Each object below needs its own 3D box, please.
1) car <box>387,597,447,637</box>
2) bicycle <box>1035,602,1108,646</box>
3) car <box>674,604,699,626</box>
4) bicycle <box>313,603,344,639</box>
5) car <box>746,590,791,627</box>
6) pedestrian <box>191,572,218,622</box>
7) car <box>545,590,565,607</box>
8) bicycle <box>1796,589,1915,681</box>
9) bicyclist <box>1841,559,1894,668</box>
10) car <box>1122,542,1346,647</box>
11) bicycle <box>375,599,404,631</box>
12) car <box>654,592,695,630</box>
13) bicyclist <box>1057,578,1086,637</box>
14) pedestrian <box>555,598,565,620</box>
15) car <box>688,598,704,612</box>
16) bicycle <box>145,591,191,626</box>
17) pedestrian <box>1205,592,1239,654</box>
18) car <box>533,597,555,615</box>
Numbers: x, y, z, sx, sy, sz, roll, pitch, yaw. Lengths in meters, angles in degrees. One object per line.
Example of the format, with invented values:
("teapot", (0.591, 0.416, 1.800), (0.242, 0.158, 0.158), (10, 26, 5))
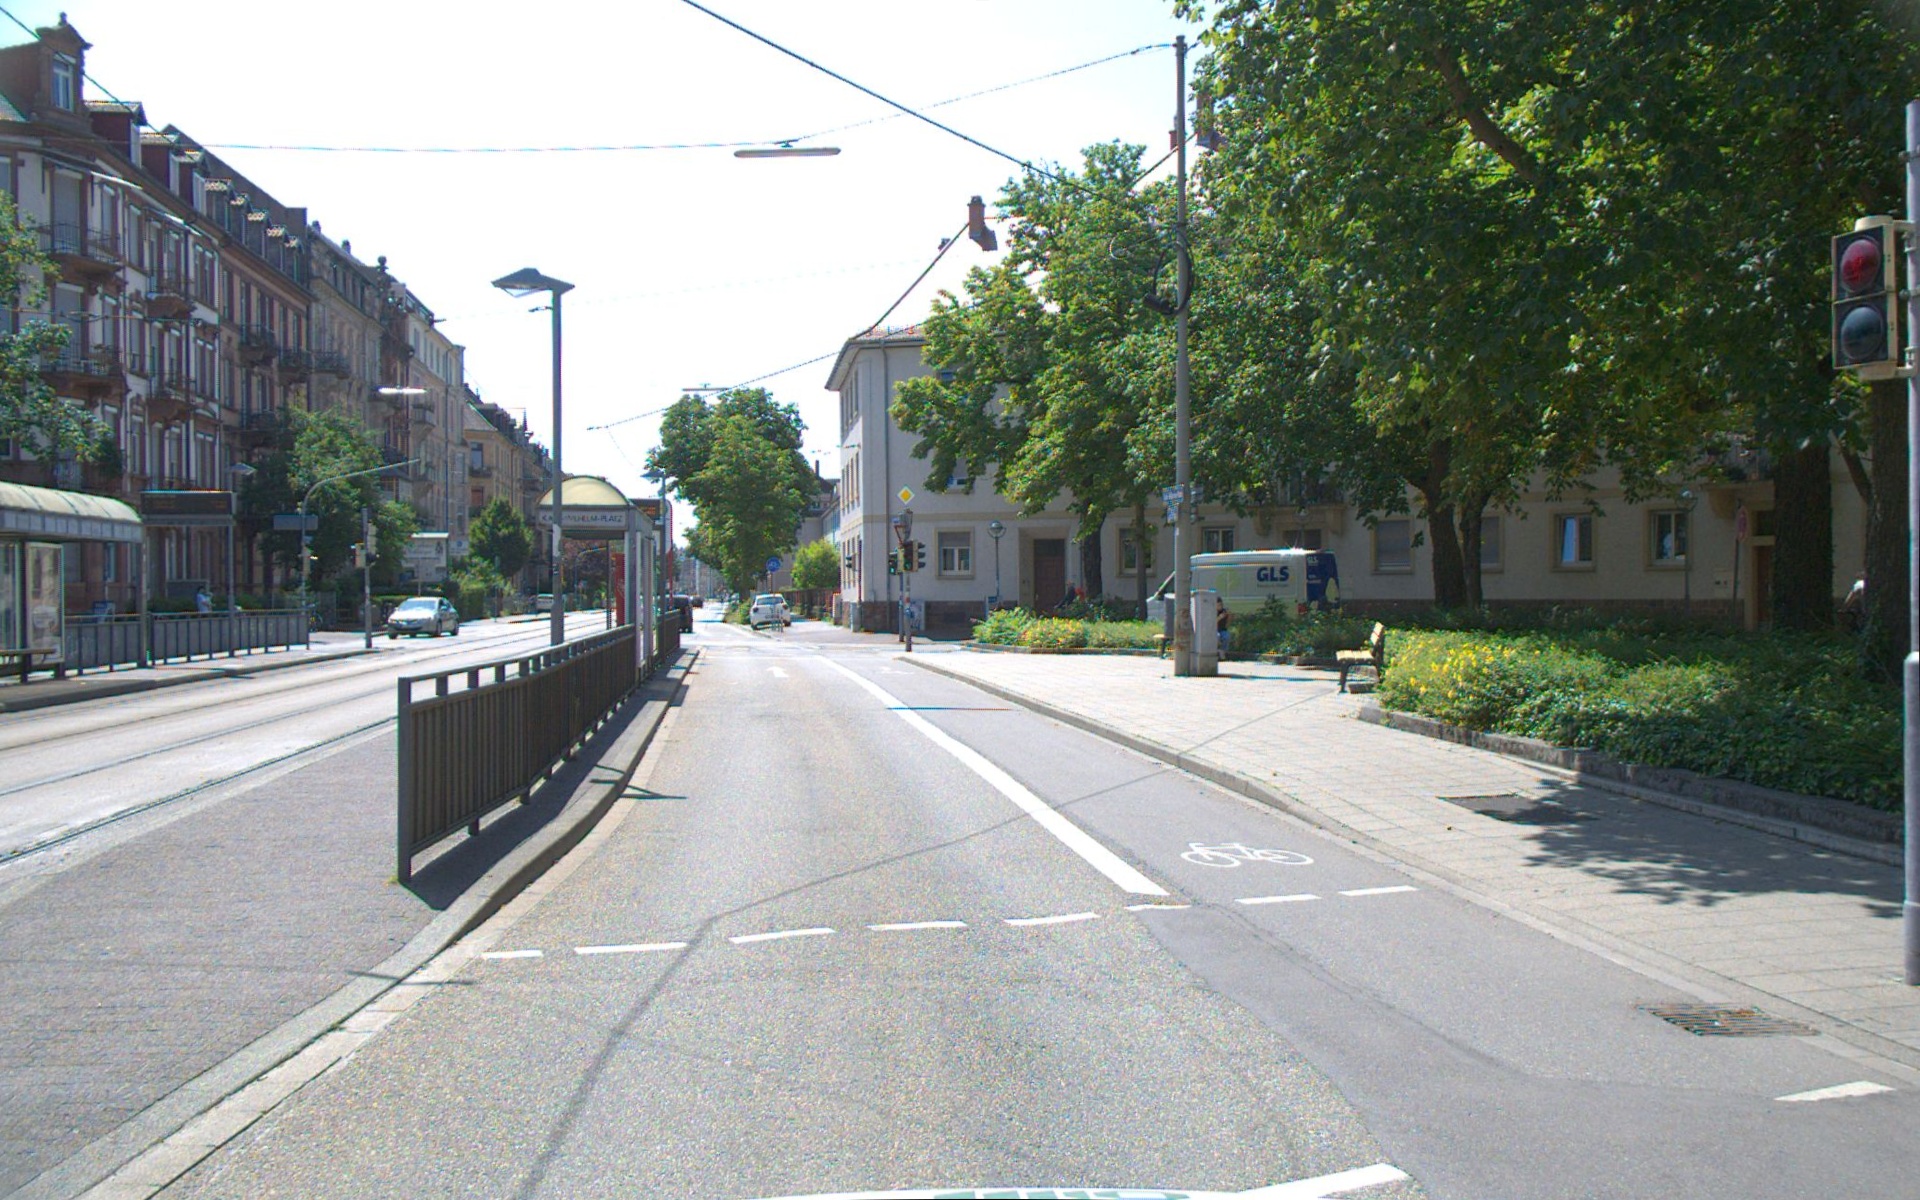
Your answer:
("car", (-19.474, 0.619, 59.395), (1.513, 1.362, 3.710), (0, -1, -10))
("bicycle", (3.218, 0.695, 47.736), (2.039, 1.258, 0.580), (0, -1, 25))
("car", (-18.950, 1.030, 114.619), (1.715, 1.498, 3.929), (0, -1, -9))
("bicycle", (-25.064, 0.839, 65.608), (0.609, 1.420, 2.279), (1, -1, -35))
("car", (-8.473, 0.376, 73.071), (1.715, 1.498, 3.929), (-3, 0, -9))
("pedestrian", (-25.375, -0.100, 55.533), (0.461, 1.643, 0.650), (3, 1, 39))
("car", (-38.145, -0.118, 155.924), (1.600, 1.498, 3.554), (-3, 0, -11))
("bicycle", (15.373, 0.588, 28.464), (0.581, 1.511, 2.162), (0, -1, -10))
("bicyclist", (15.436, 0.231, 28.148), (0.591, 1.831, 0.533), (0, -1, -11))
("car", (7.203, -0.146, 43.953), (5.746, 2.635, 1.988), (0, 0, 42))
("bicycle", (-25.257, 0.652, 73.235), (0.586, 1.380, 2.410), (1, -1, -35))
("car", (-11.542, 0.450, 67.001), (1.496, 1.469, 3.358), (-2, 0, -8))
("bicyclist", (3.224, 0.219, 47.763), (0.680, 1.675, 0.580), (0, -1, 25))
("pedestrian", (-32.360, 0.760, 133.799), (0.665, 1.758, 0.676), (0, -1, -9))
("car", (-30.951, 0.635, 193.888), (1.600, 1.498, 3.554), (-3, 0, -11))
("bicycle", (-27.224, 0.288, 56.874), (0.356, 1.190, 1.518), (1, 0, 24))
("pedestrian", (4.780, 0.414, 30.207), (0.499, 1.111, 0.478), (-2, 1, -3))
("car", (-37.108, 0.547, 147.627), (1.654, 1.498, 3.927), (-3, 0, -11))
